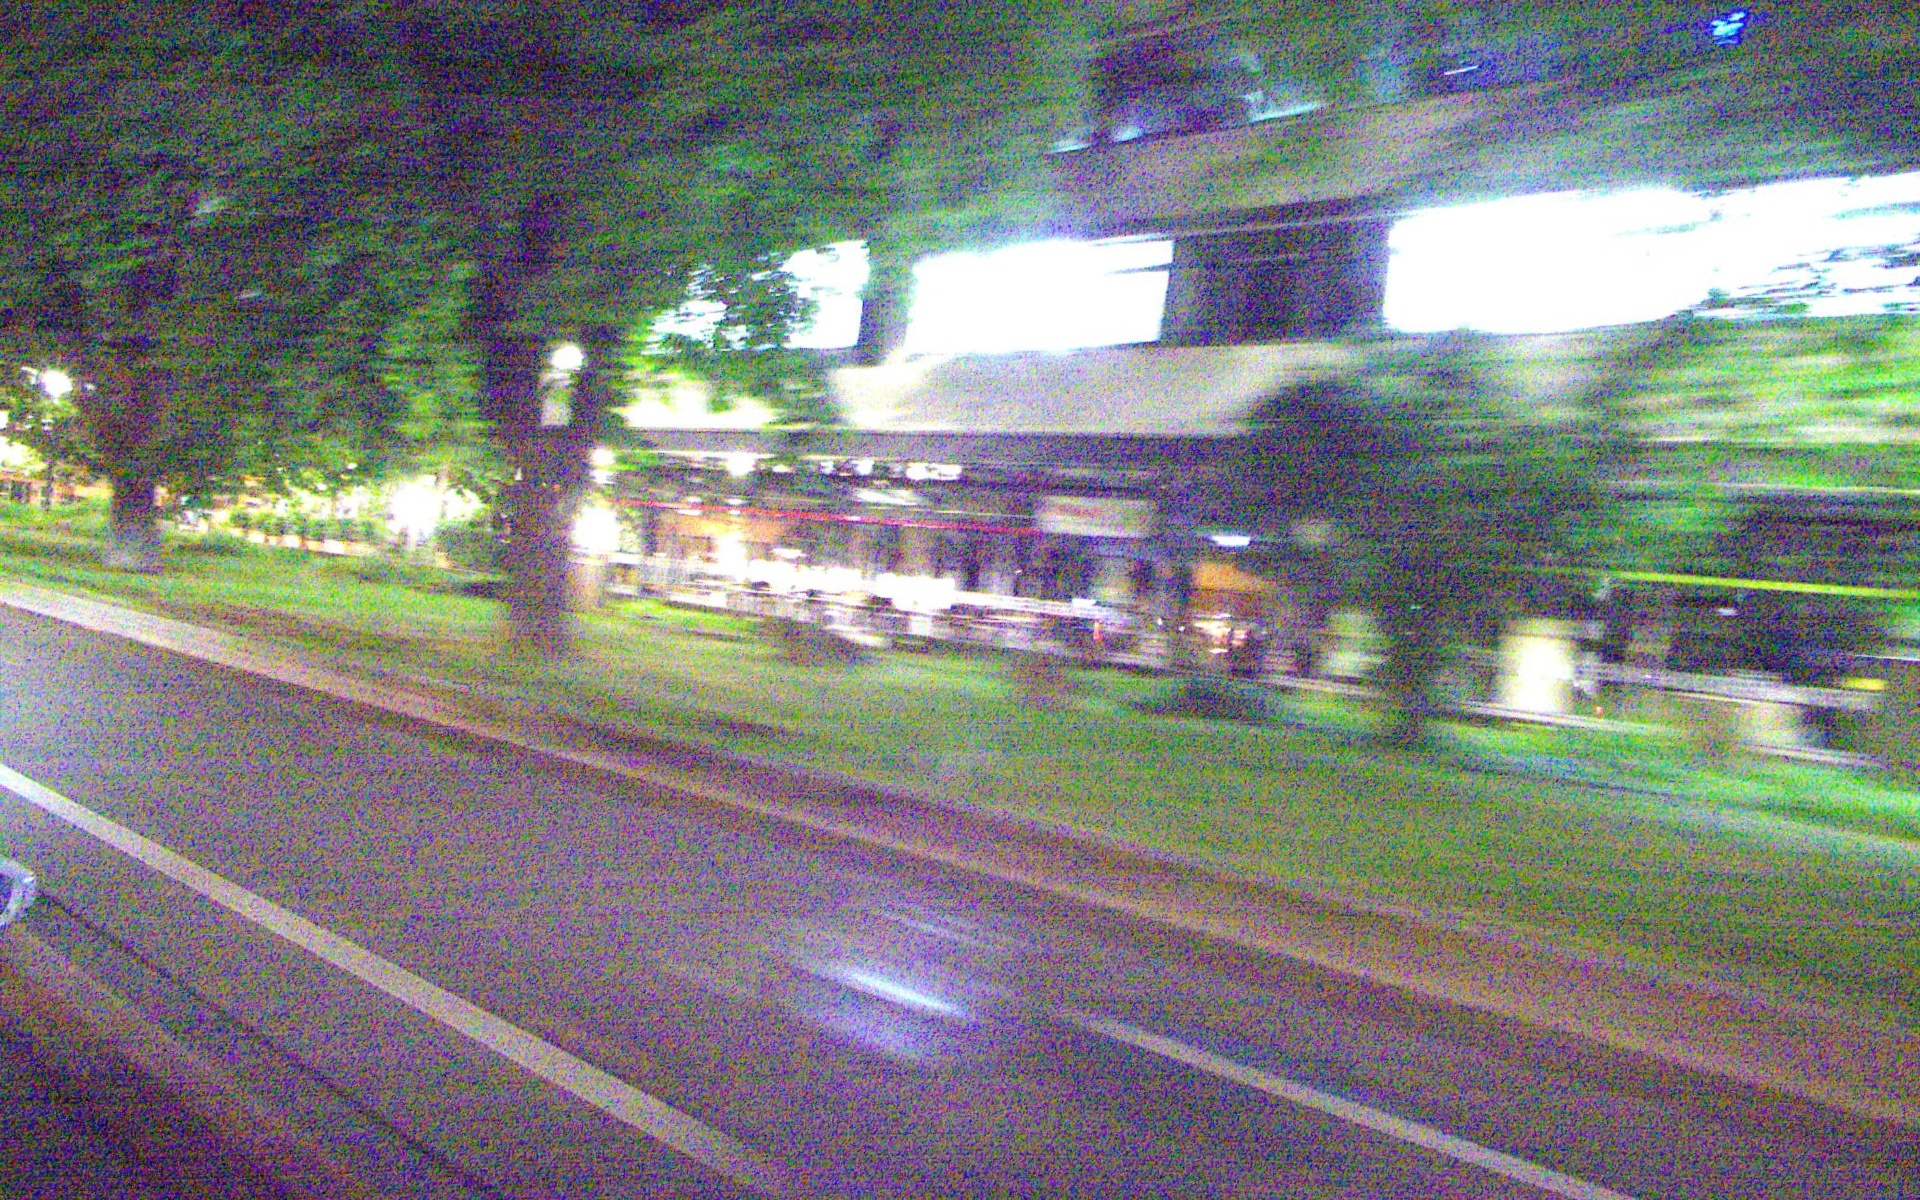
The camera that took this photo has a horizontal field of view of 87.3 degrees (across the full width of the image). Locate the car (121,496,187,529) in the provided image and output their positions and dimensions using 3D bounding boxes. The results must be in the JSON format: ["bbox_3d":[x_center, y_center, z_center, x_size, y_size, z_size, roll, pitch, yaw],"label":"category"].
[{"bbox_3d":[-48.816,-5.291,60.903,4.030,1.552,1.770,6,1,31],"label":"car"}]
